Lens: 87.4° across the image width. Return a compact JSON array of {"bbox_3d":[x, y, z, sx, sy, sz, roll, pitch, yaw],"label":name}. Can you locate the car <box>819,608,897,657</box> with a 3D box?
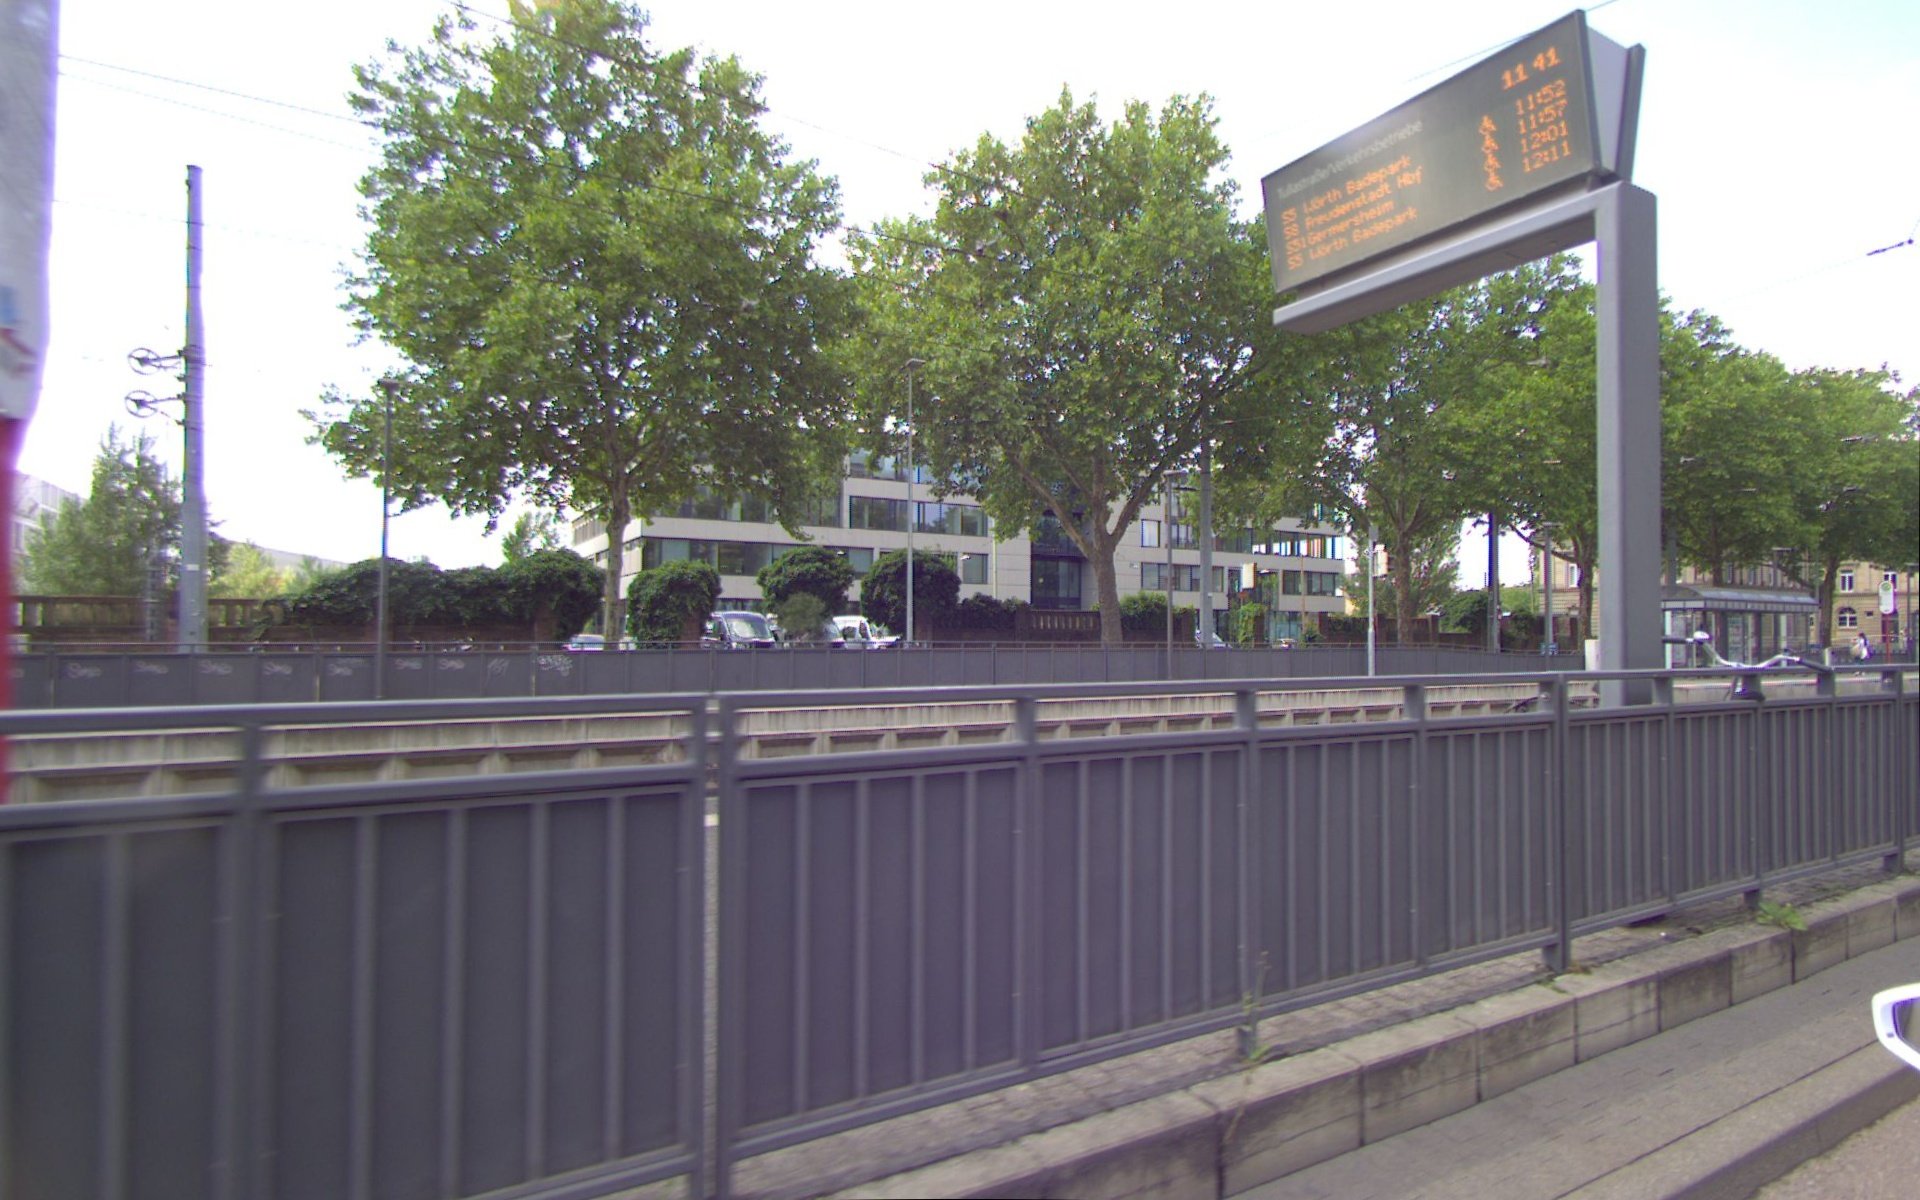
[{"bbox_3d":[-4.582,1.493,44.577,1.937,2.060,4.119,2,-4,-30],"label":"car"}]

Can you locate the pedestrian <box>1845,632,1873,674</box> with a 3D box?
[{"bbox_3d":[33.303,1.955,37.218,0.693,1.532,0.800,-2,-3,38],"label":"pedestrian"}]

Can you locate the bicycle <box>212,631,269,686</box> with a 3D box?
[{"bbox_3d":[-18.529,1.466,25.929,0.626,1.183,3.029,1,1,-25],"label":"bicycle"}]

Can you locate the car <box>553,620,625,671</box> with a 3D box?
[{"bbox_3d":[-14.057,1.743,37.963,1.878,1.819,4.119,2,-4,-30],"label":"car"}]
